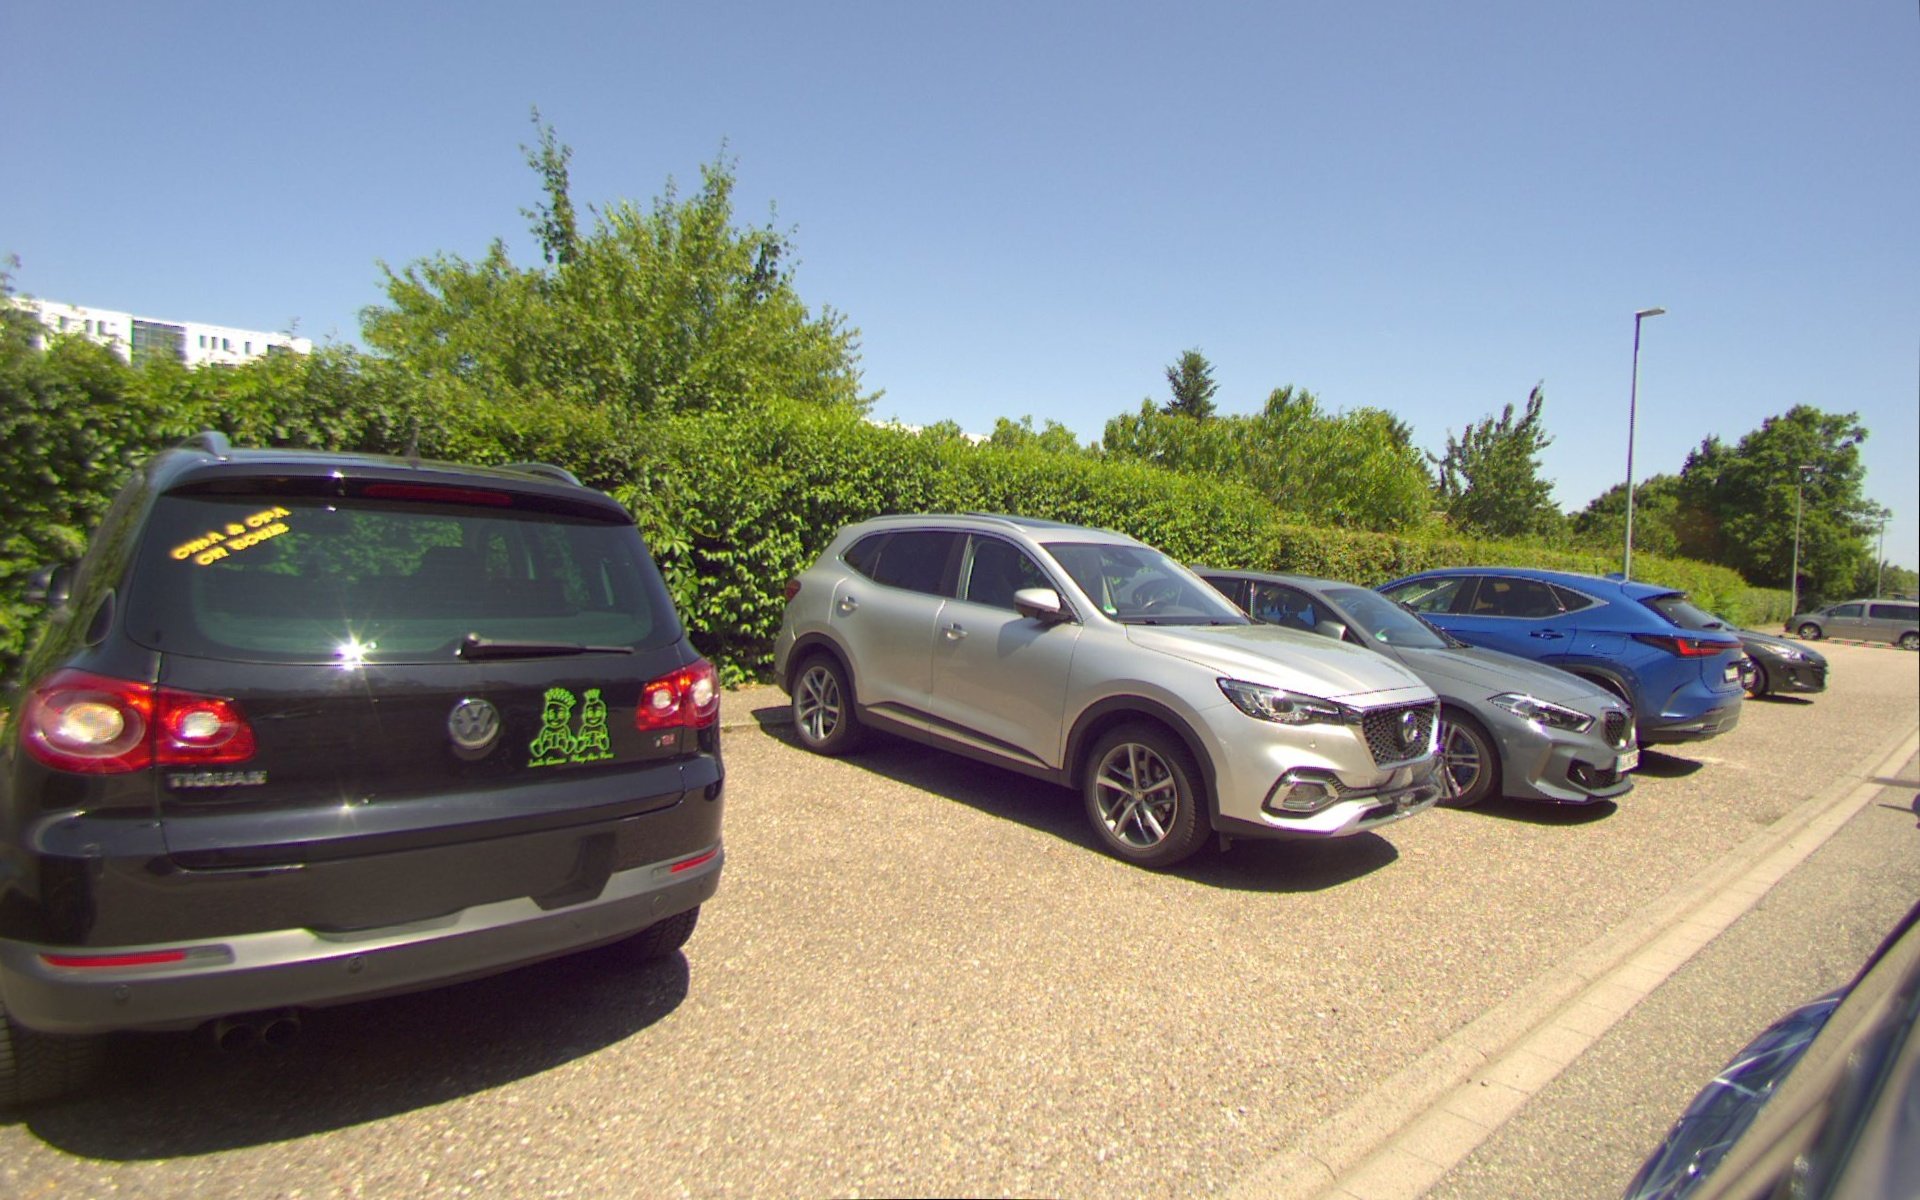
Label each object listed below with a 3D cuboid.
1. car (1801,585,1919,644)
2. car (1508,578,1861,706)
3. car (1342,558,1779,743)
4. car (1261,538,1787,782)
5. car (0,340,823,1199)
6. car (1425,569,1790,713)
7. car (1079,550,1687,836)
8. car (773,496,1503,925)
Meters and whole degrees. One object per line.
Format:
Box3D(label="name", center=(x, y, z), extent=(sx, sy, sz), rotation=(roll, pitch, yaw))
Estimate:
Box3D(label="car", center=(35.474, 0.591, 38.948), extent=(1.668, 1.872, 4.487), rotation=(1, 5, -44))
Box3D(label="car", center=(11.419, 0.551, 16.227), extent=(1.620, 1.434, 4.253), rotation=(1, 5, -40))
Box3D(label="car", center=(6.840, 0.439, 11.910), extent=(1.620, 1.532, 4.037), rotation=(1, 5, -40))
Box3D(label="car", center=(5.197, 0.378, 9.815), extent=(1.644, 1.661, 4.037), rotation=(1, 5, -40))
Box3D(label="car", center=(-2.367, 0.245, 3.837), extent=(1.735, 1.706, 3.983), rotation=(1, 4, -40))
Box3D(label="car", center=(9.106, 0.466, 14.535), extent=(1.620, 1.463, 4.037), rotation=(1, 5, -40))
Box3D(label="car", center=(3.030, 0.476, 7.969), extent=(1.650, 1.425, 4.036), rotation=(1, 5, -41))
Box3D(label="car", center=(0.747, 0.306, 6.258), extent=(1.746, 1.661, 4.168), rotation=(1, 5, -42))
